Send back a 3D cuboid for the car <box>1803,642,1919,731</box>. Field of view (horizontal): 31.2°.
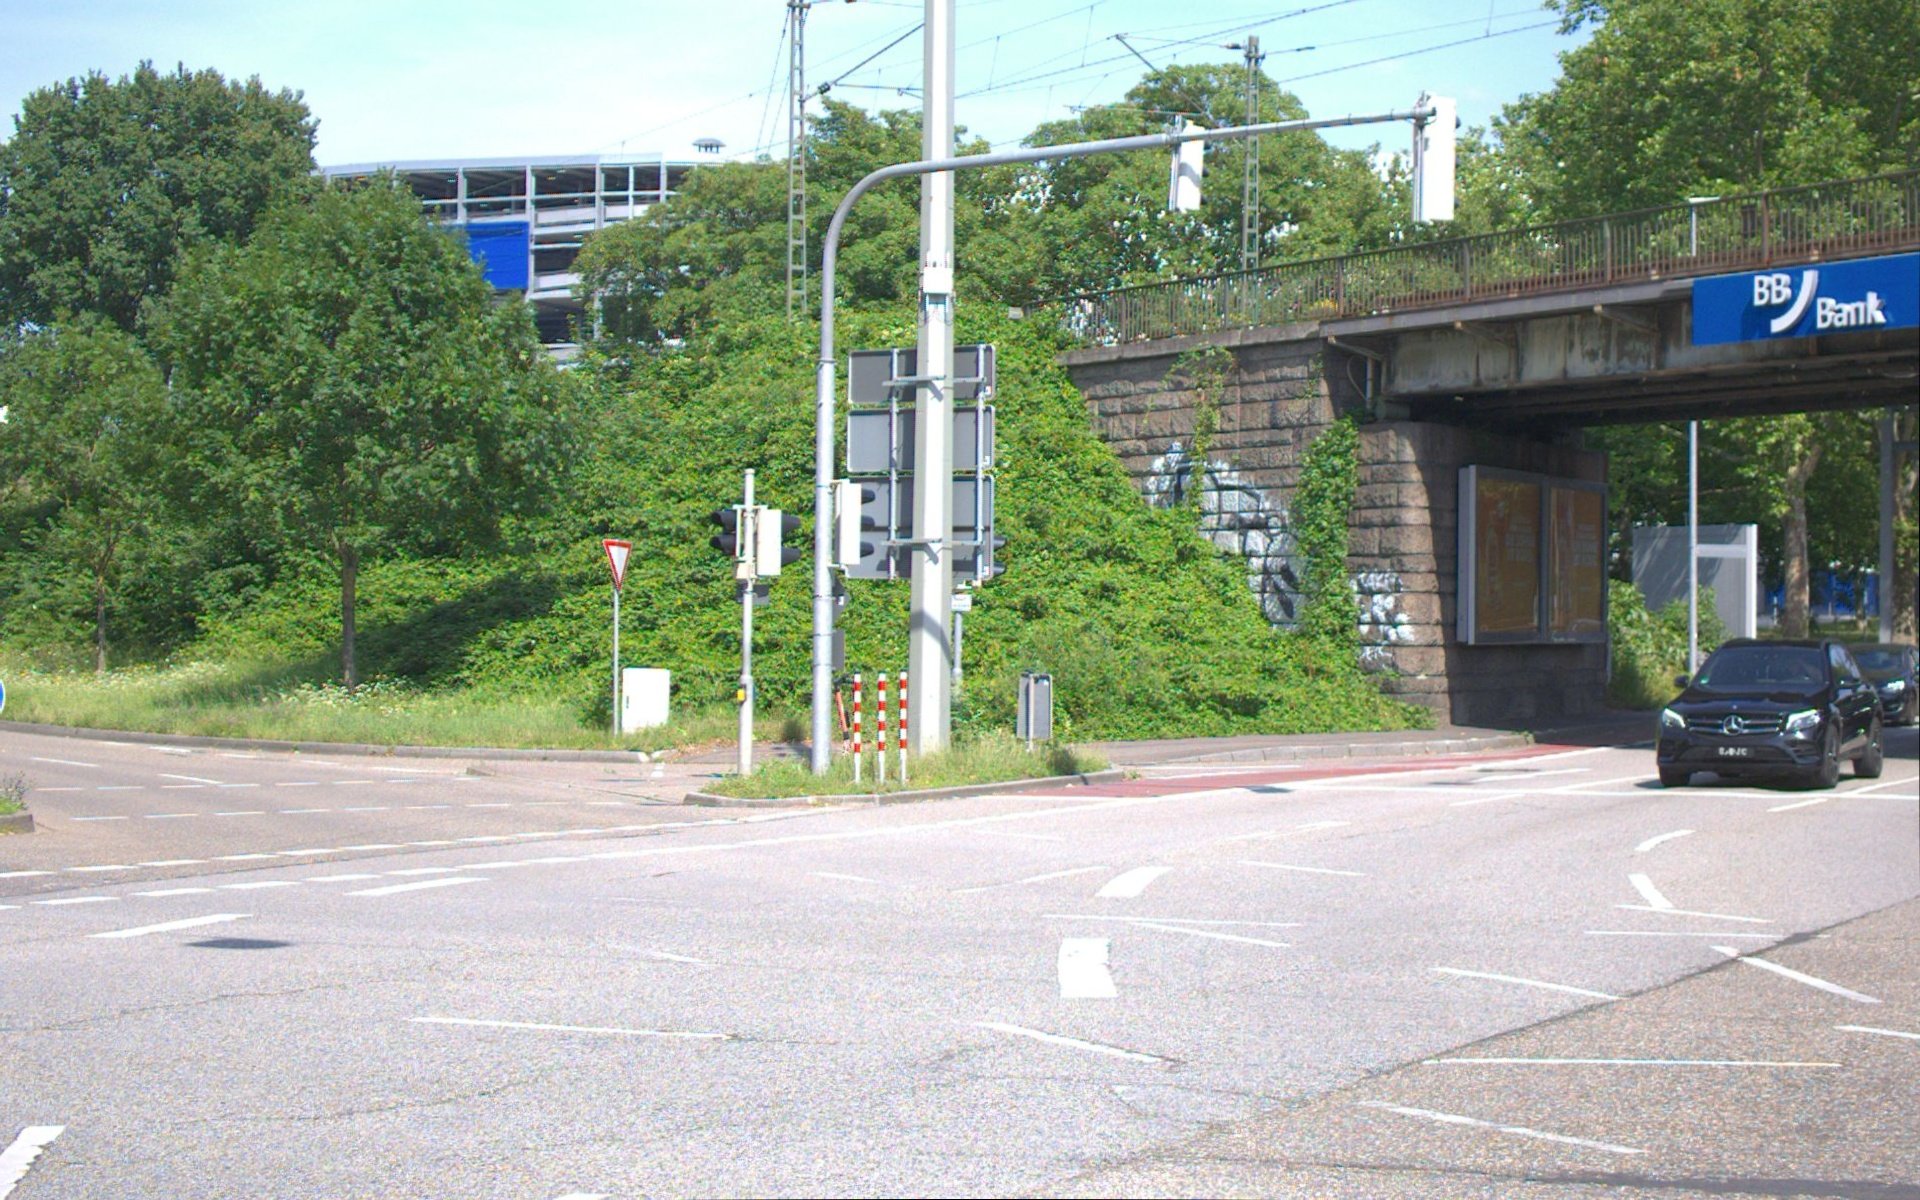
[{"bbox_3d":[16.328,1.512,61.299,1.824,1.501,4.210,0,-1,23],"label":"car"}]

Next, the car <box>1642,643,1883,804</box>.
[{"bbox_3d":[9.118,1.335,38.817,1.996,1.590,4.440,1,1,22],"label":"car"}]
